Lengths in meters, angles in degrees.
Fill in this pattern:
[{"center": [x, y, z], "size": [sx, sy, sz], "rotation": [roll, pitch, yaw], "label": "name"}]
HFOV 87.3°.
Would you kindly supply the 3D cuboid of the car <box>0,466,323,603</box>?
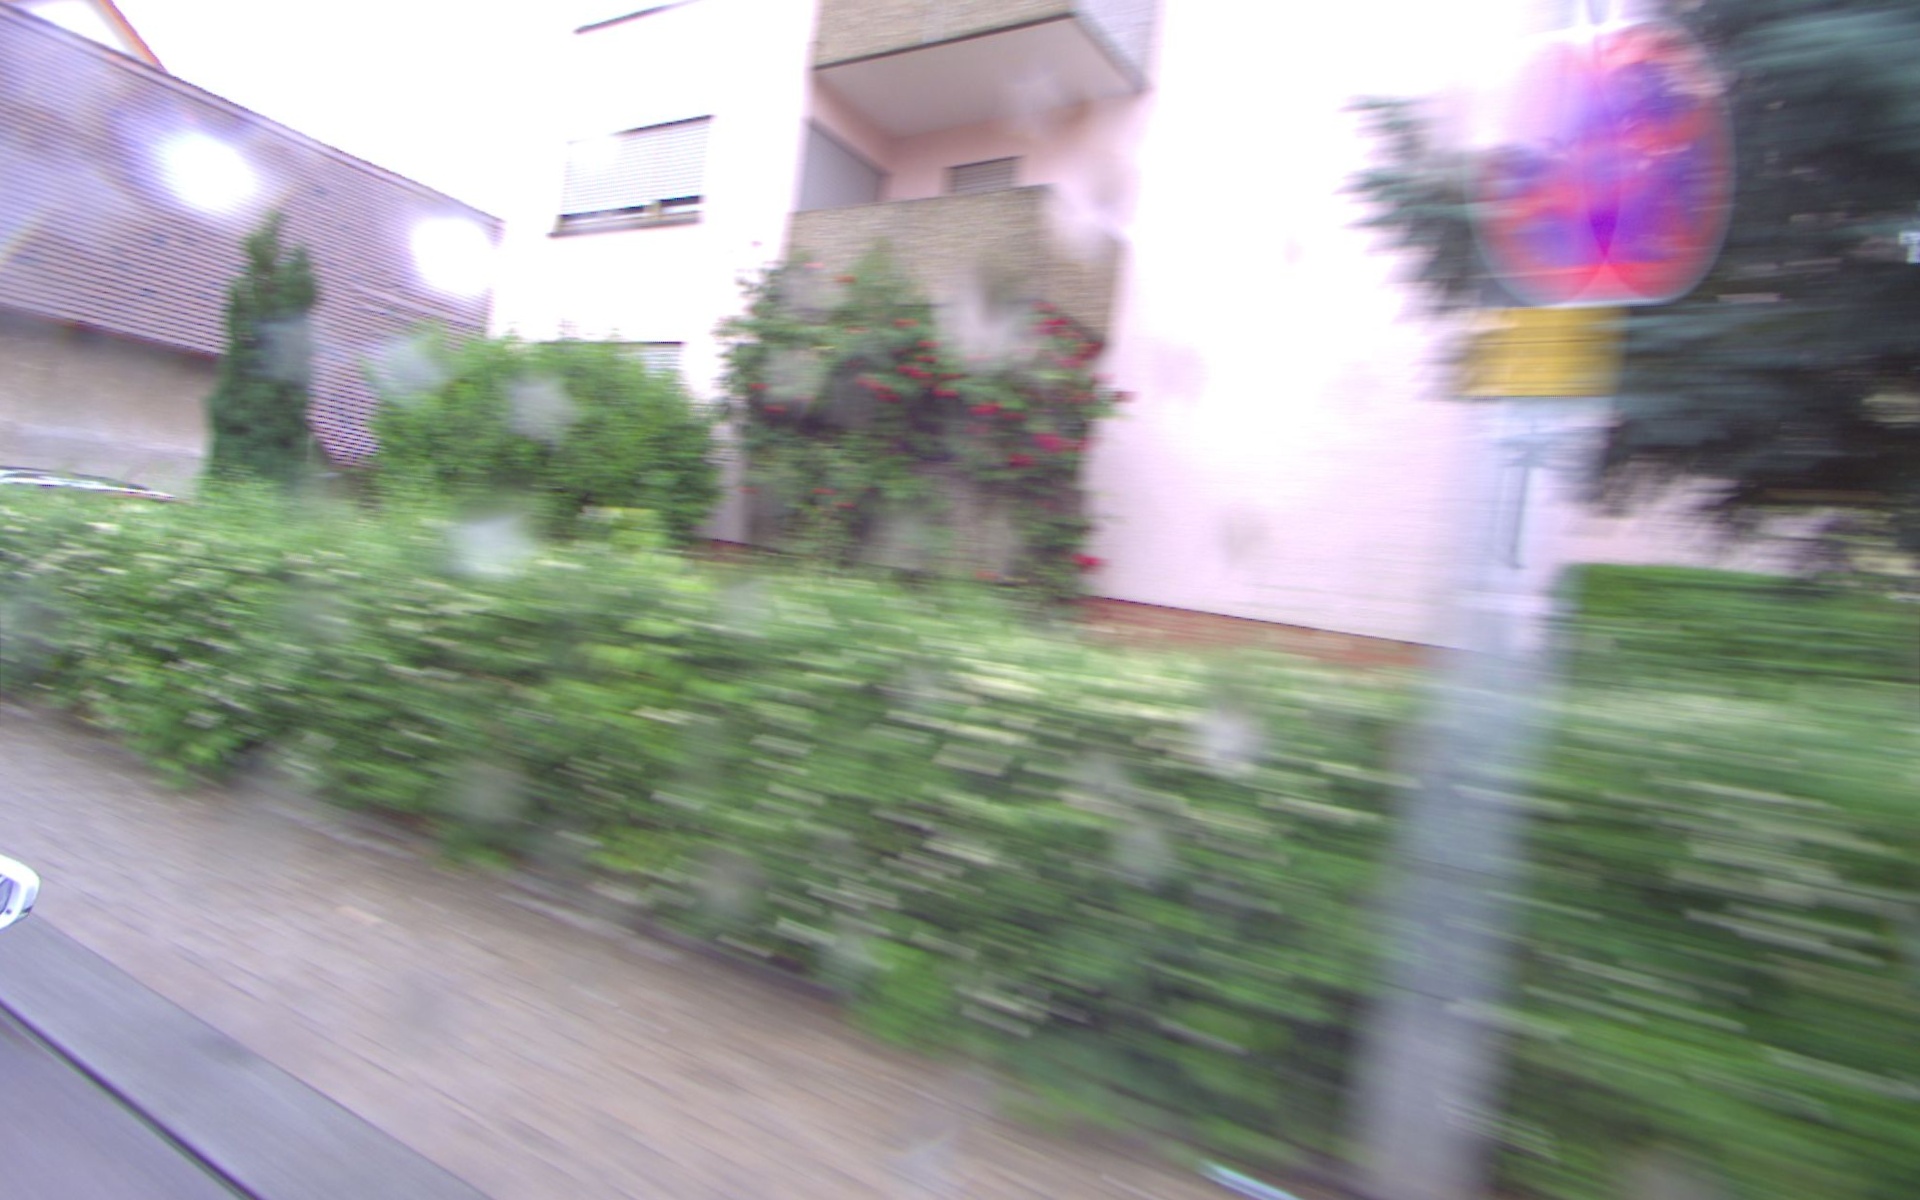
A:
[{"center": [-12.581, -0.965, 15.497], "size": [1.871, 1.670, 4.220], "rotation": [7, 2, 31], "label": "car"}]
